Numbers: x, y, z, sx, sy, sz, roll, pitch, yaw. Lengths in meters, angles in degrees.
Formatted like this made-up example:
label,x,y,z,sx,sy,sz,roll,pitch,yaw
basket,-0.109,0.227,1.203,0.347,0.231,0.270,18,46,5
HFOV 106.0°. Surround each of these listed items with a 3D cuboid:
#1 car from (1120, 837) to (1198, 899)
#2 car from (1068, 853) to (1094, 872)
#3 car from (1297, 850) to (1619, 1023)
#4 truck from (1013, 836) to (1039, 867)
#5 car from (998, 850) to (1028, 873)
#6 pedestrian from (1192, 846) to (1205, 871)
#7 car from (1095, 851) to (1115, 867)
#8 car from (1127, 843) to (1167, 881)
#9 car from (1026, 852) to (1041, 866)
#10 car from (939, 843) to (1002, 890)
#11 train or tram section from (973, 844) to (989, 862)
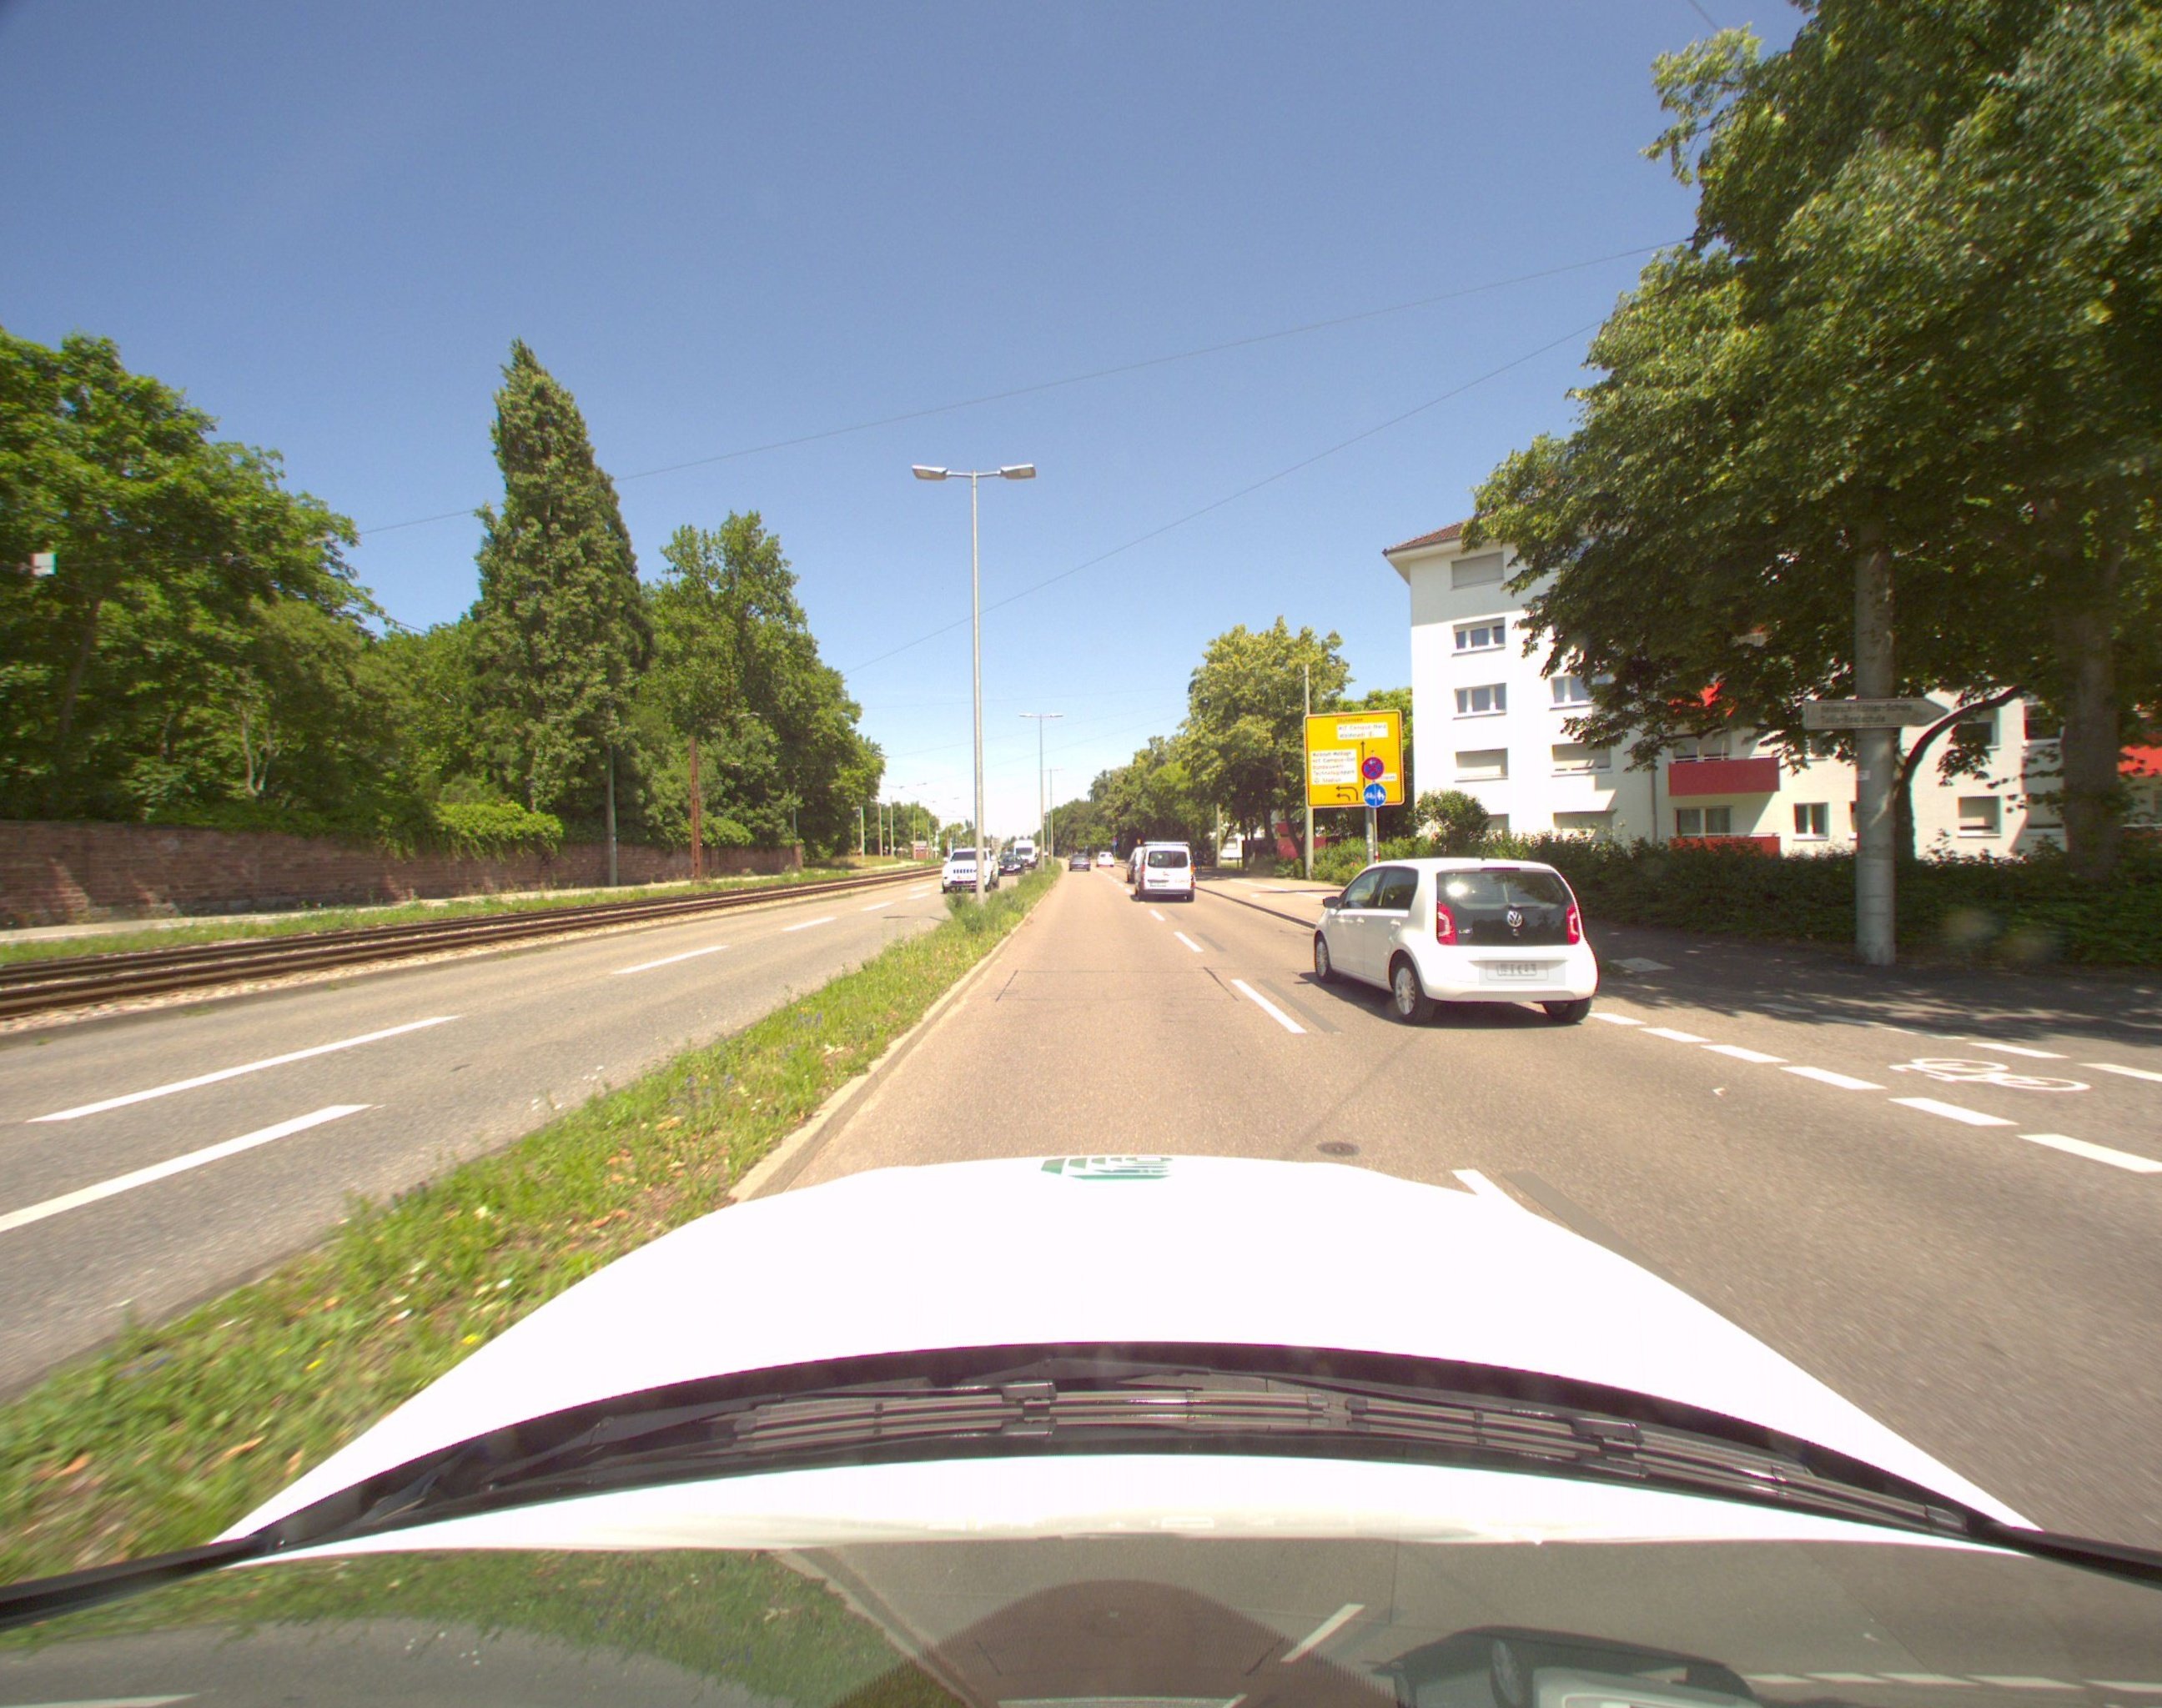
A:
label,x,y,z,sx,sy,sz,roll,pitch,yaw
car,2.500,0.442,27.111,1.821,1.882,4.448,0,0,-5
car,-0.024,0.691,66.623,1.799,1.486,3.993,0,0,-5
car,3.675,0.697,8.754,1.654,1.449,3.853,0,0,-1
truck,-5.103,-0.212,76.649,2.075,2.748,5.545,-2,0,-1
car,-4.642,0.507,55.941,1.711,1.458,3.912,-2,0,-1
pedestrian,7.782,0.305,54.014,0.667,1.644,0.856,0,0,-2
car,2.442,0.495,85.108,1.798,1.540,3.997,4,-1,-1
car,3.279,0.371,41.018,1.722,1.814,4.001,1,0,1
car,-6.174,0.647,106.411,1.825,1.756,4.484,-2,0,-3
car,-4.431,0.465,33.366,1.894,1.748,4.587,-2,0,0
train or tram section,-22.207,-0.141,182.290,2.784,3.668,37.439,0,0,-6
